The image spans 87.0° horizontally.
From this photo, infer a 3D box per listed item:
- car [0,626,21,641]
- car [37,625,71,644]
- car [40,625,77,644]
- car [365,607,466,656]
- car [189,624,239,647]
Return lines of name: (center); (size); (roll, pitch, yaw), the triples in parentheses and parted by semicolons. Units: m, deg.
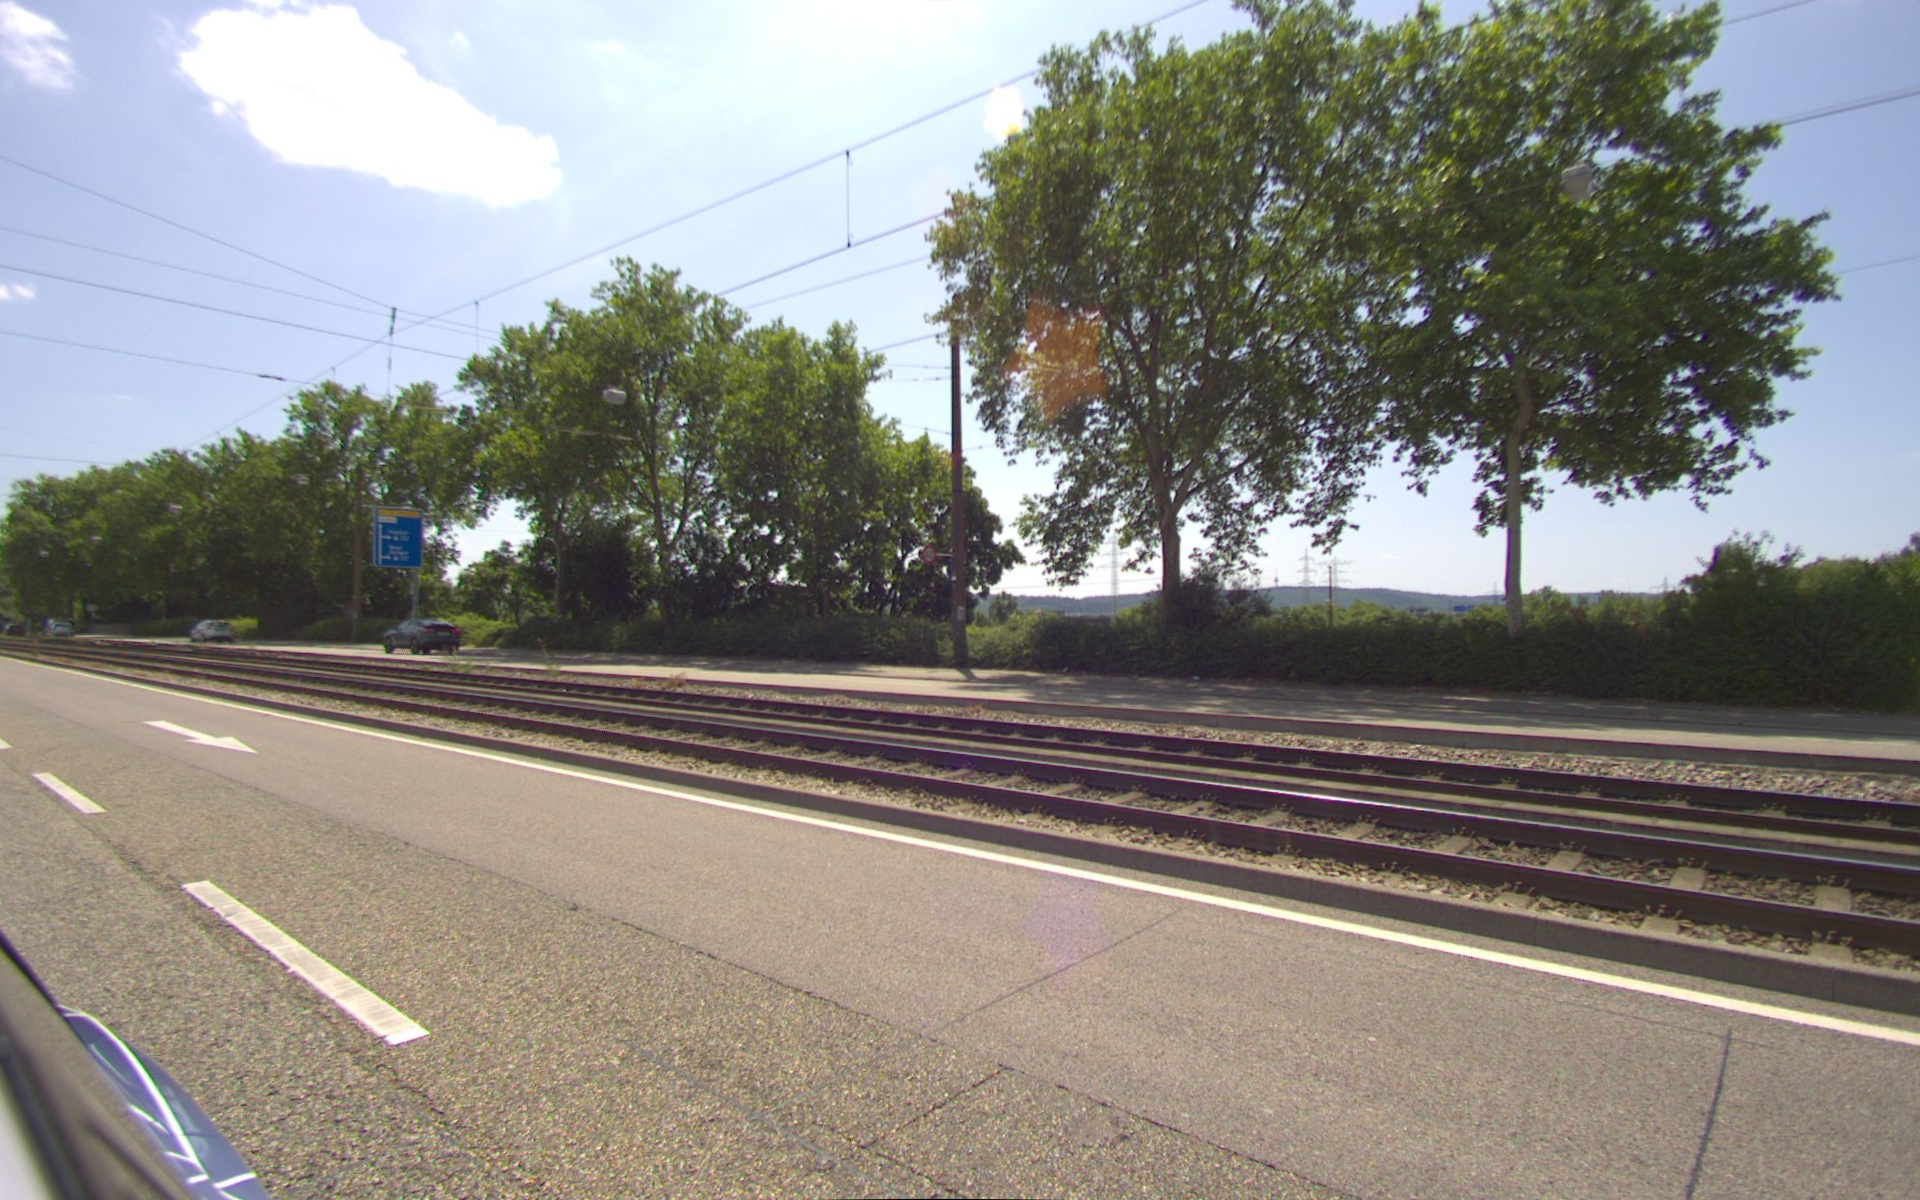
car: (-115.344, 4.022, 122.321); (4.463, 1.683, 1.974); (-1, -3, 39)
car: (-82.044, 3.128, 91.603); (4.055, 1.596, 1.668); (-1, -4, 40)
car: (-90.250, 3.415, 101.311); (4.965, 1.845, 1.973); (-1, -4, 40)
car: (-23.247, 1.386, 43.154); (4.400, 1.933, 1.976); (-2, -5, 35)
car: (-48.518, 2.307, 65.797); (3.882, 1.426, 1.803); (-1, -4, 41)
